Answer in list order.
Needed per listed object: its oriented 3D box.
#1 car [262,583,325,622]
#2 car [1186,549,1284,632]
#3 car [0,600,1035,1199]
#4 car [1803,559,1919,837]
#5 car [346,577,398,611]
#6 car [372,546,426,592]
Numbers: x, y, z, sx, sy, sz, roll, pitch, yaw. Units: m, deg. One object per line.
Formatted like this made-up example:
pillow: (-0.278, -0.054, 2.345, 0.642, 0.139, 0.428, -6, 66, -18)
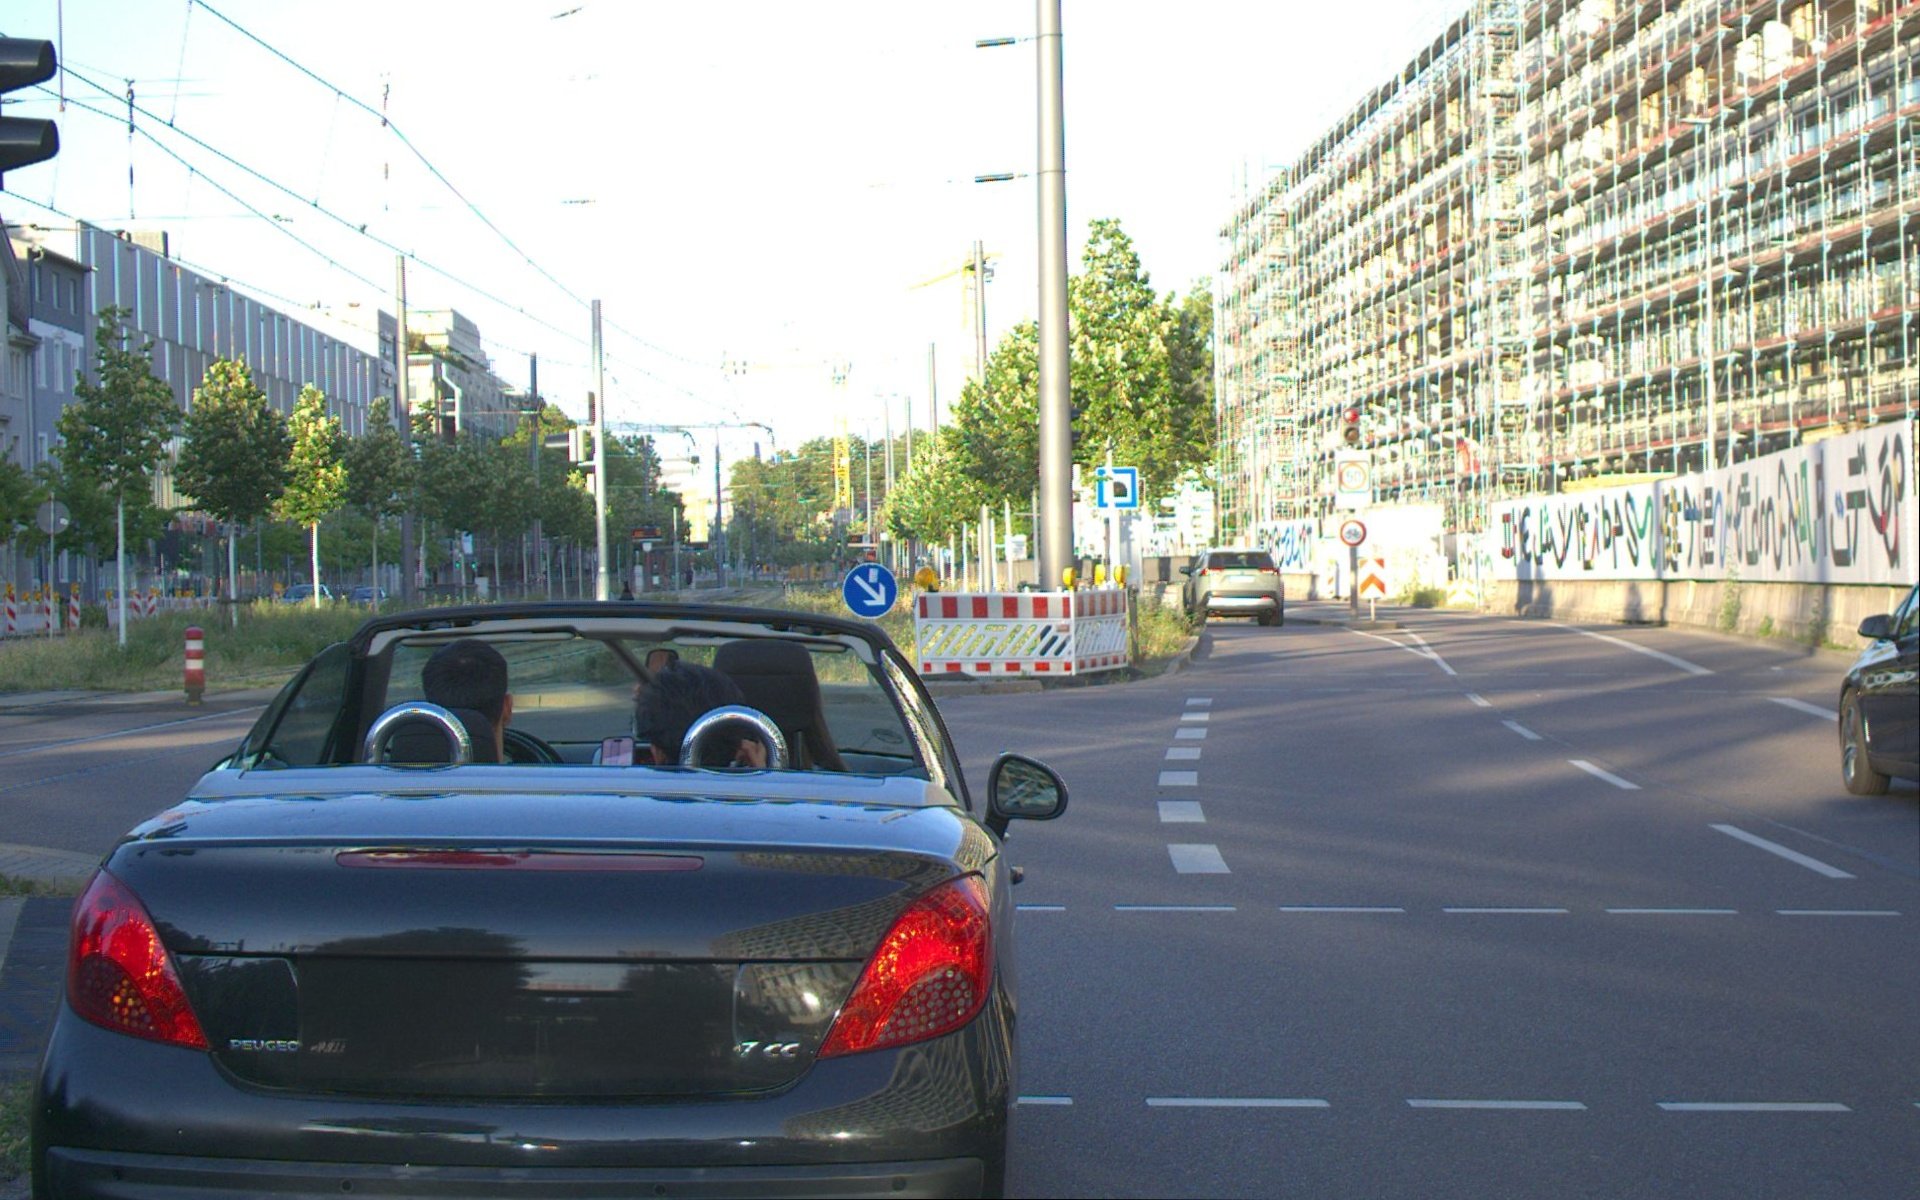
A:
car: (-25.664, 0.093, 132.481, 1.657, 1.426, 3.895, 1, 1, 0)
car: (5.731, -0.219, 72.050, 1.834, 1.667, 4.282, 0, 1, 2)
car: (-0.746, 0.706, 7.390, 1.674, 1.347, 4.000, 0, 1, -1)
car: (6.281, 0.521, 20.218, 1.821, 1.513, 4.791, 0, 1, 5)
car: (-26.162, -0.279, 153.115, 1.657, 1.426, 3.895, 1, 1, 0)
car: (-24.129, -1.343, 147.921, 1.657, 1.957, 4.266, 1, 1, -1)
